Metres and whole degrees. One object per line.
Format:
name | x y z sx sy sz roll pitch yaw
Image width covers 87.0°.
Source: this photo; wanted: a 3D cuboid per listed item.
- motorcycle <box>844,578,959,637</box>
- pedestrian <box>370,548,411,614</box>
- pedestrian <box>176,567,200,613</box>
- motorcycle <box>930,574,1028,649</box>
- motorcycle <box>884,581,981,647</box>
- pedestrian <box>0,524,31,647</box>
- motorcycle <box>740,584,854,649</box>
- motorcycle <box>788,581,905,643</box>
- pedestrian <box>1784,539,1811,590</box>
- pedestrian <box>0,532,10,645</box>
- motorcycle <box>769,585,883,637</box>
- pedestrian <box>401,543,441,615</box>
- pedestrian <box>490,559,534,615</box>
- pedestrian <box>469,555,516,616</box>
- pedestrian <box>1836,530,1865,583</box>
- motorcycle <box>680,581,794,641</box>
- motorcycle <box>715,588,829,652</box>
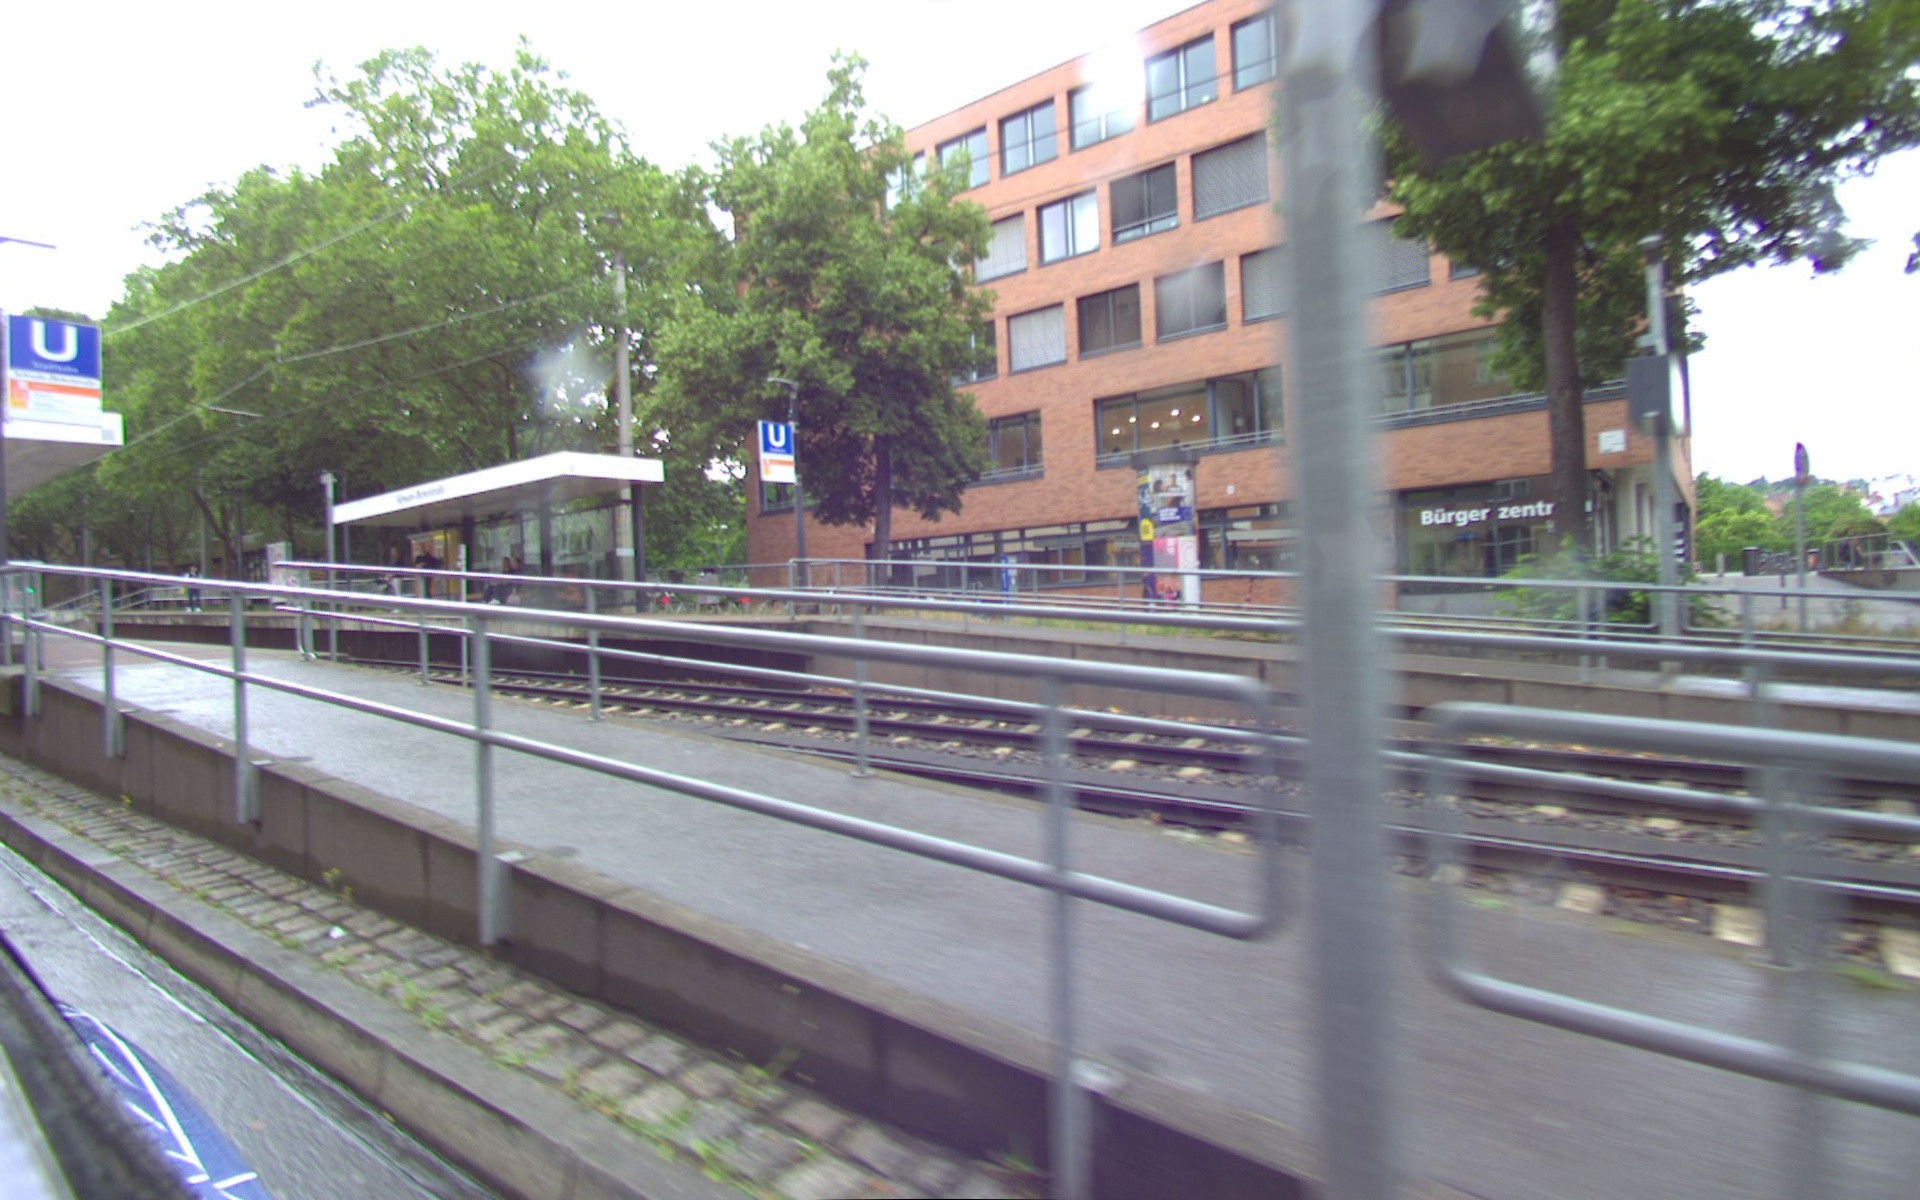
motorcycle | -1.555 0.168 28.231 1.004 1.499 3.830 -1 1 36
pedestrian | -14.550 -0.486 25.859 0.563 1.653 0.680 -2 1 35
pedestrian | -27.807 -0.356 36.445 0.689 1.653 0.556 -1 1 44
motorcycle | 0.540 0.251 26.234 0.991 1.829 3.009 -1 1 36
motorcycle | -0.700 0.339 27.455 1.004 1.640 3.031 -1 1 36
pedestrian | -12.648 -0.190 13.275 0.507 1.593 0.607 -1 1 41
motorcycle | -4.882 0.449 30.788 1.004 1.829 3.830 -1 1 36
motorcycle | -3.174 0.303 29.031 1.004 1.617 3.830 -1 1 36
pedestrian | 33.690 -1.408 40.713 0.715 2.029 0.712 -1 0 33
pedestrian | -13.819 -0.158 14.229 0.507 1.593 0.607 -1 1 41
motorcycle | -3.901 0.291 30.052 1.004 1.417 3.830 -1 1 36
pedestrian | -13.292 -0.511 24.957 0.704 1.728 0.557 -2 1 36
pedestrian | -10.240 -0.291 23.126 0.563 1.249 0.697 -2 1 35
pedestrian | -10.828 -0.339 23.459 0.563 1.373 0.770 -2 1 35
pedestrian | 34.344 -1.664 39.050 0.715 2.029 0.712 -1 0 33
motorcycle | -7.054 0.309 32.337 1.004 1.787 3.830 -1 1 36
motorcycle | -5.786 0.575 31.491 1.004 1.829 3.830 -1 1 36
